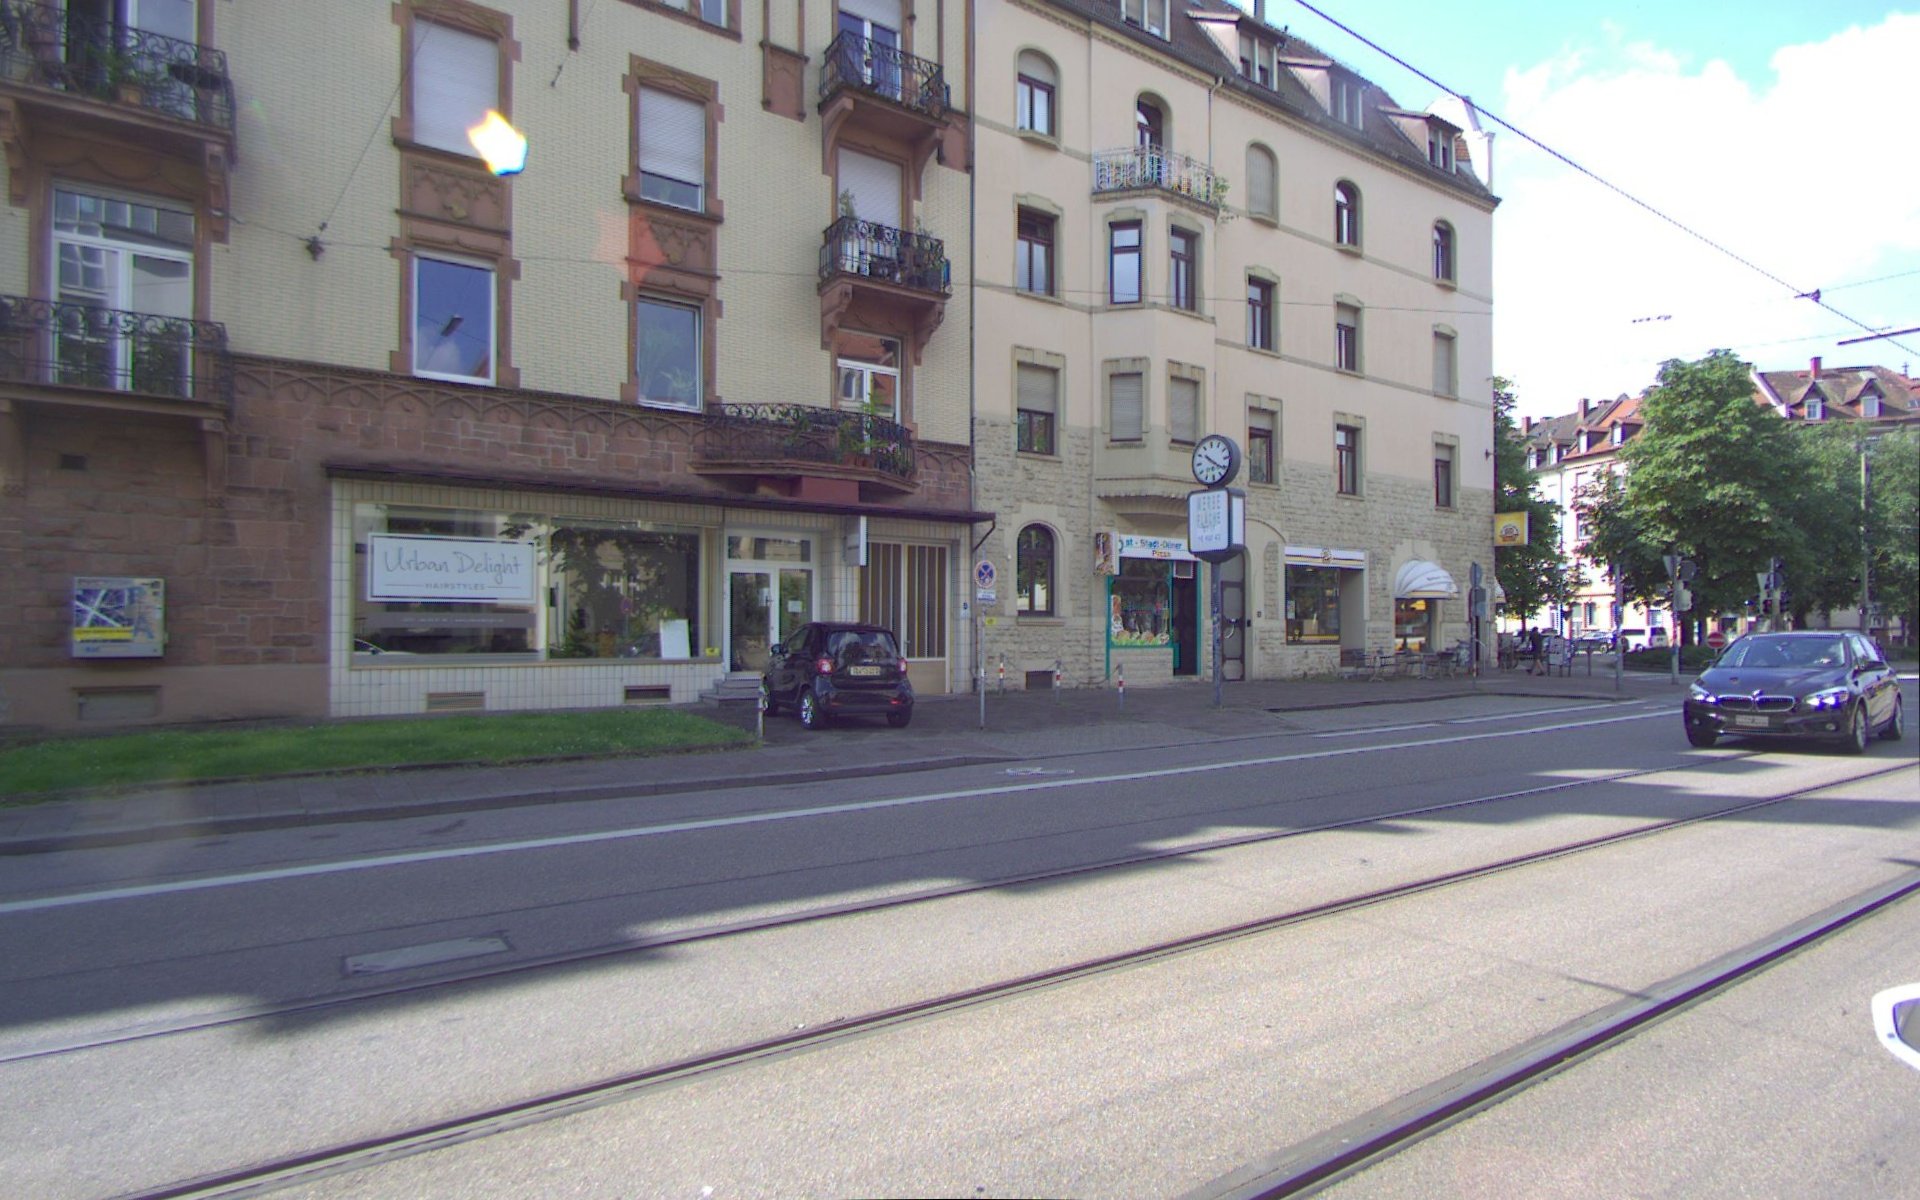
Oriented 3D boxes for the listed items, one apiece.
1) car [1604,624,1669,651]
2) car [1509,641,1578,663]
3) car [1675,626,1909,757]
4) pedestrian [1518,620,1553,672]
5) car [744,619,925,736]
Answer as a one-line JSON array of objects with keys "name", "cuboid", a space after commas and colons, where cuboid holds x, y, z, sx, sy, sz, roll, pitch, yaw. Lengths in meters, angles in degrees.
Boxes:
[{"name": "car", "cuboid": [50.263, 2.789, 74.717, 1.962, 1.929, 3.997, 0, -2, -5]}, {"name": "car", "cuboid": [33.456, 2.973, 57.574, 3.951, 1.198, 1.666, 1, -2, -29]}, {"name": "car", "cuboid": [11.499, 1.137, 13.800, 4.034, 1.538, 1.742, 1, -2, -39]}, {"name": "pedestrian", "cuboid": [19.297, 1.539, 33.691, 0.690, 1.706, 0.750, 1, -1, -21]}, {"name": "car", "cuboid": [-2.064, 1.121, 15.842, 1.716, 1.505, 3.162, 1, 1, -30]}]
